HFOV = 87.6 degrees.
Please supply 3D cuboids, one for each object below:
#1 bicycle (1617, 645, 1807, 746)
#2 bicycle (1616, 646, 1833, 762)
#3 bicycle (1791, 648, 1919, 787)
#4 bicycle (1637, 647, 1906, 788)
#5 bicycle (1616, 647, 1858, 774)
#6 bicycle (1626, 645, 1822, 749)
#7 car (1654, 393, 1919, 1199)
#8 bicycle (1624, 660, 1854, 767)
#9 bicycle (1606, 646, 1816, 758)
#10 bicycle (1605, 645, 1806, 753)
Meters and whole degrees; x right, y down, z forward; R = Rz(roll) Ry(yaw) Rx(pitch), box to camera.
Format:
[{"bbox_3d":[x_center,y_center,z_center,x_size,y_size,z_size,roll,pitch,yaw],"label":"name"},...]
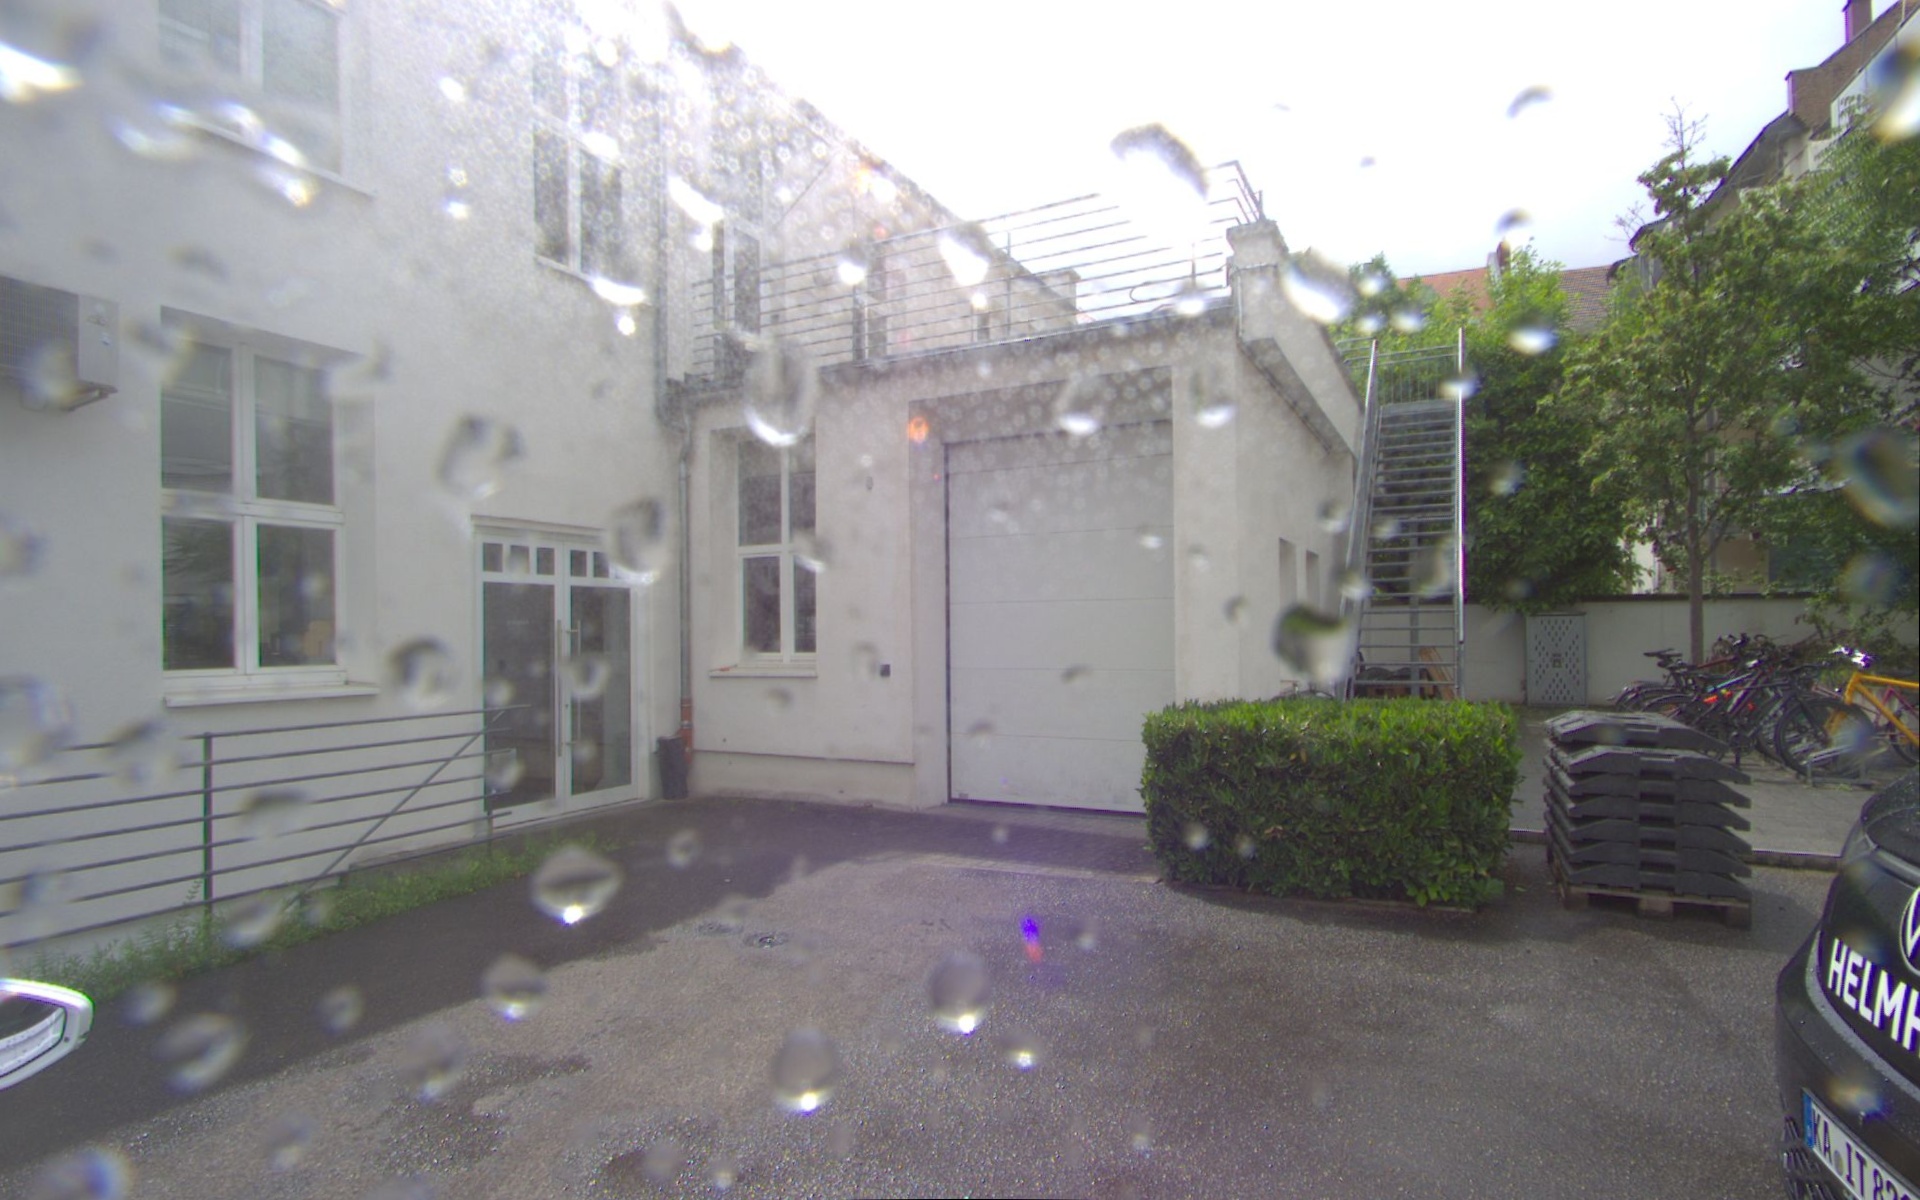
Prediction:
[{"bbox_3d":[8.720,1.084,11.670,1.725,1.118,0.341,-1,0,22],"label":"bicycle"},{"bbox_3d":[7.751,1.036,10.218,1.725,1.118,0.332,-1,0,22],"label":"bicycle"},{"bbox_3d":[8.080,0.972,8.316,1.769,1.118,0.365,-1,0,29],"label":"bicycle"},{"bbox_3d":[7.020,0.986,8.763,1.769,1.118,0.404,-1,0,29],"label":"bicycle"},{"bbox_3d":[7.312,1.012,9.516,1.769,1.118,0.353,-1,0,29],"label":"bicycle"},{"bbox_3d":[8.598,1.072,11.331,1.725,1.118,0.354,-1,0,22],"label":"bicycle"},{"bbox_3d":[3.783,0.554,0.999,4.666,1.888,1.967,-2,-2,20],"label":"car"},{"bbox_3d":[7.641,1.093,9.893,1.766,0.980,0.329,-1,0,22],"label":"bicycle"},{"bbox_3d":[7.859,1.048,10.545,1.725,1.118,0.342,-1,0,22],"label":"bicycle"},{"bbox_3d":[8.120,1.061,10.968,1.725,1.118,0.345,-1,0,22],"label":"bicycle"}]
